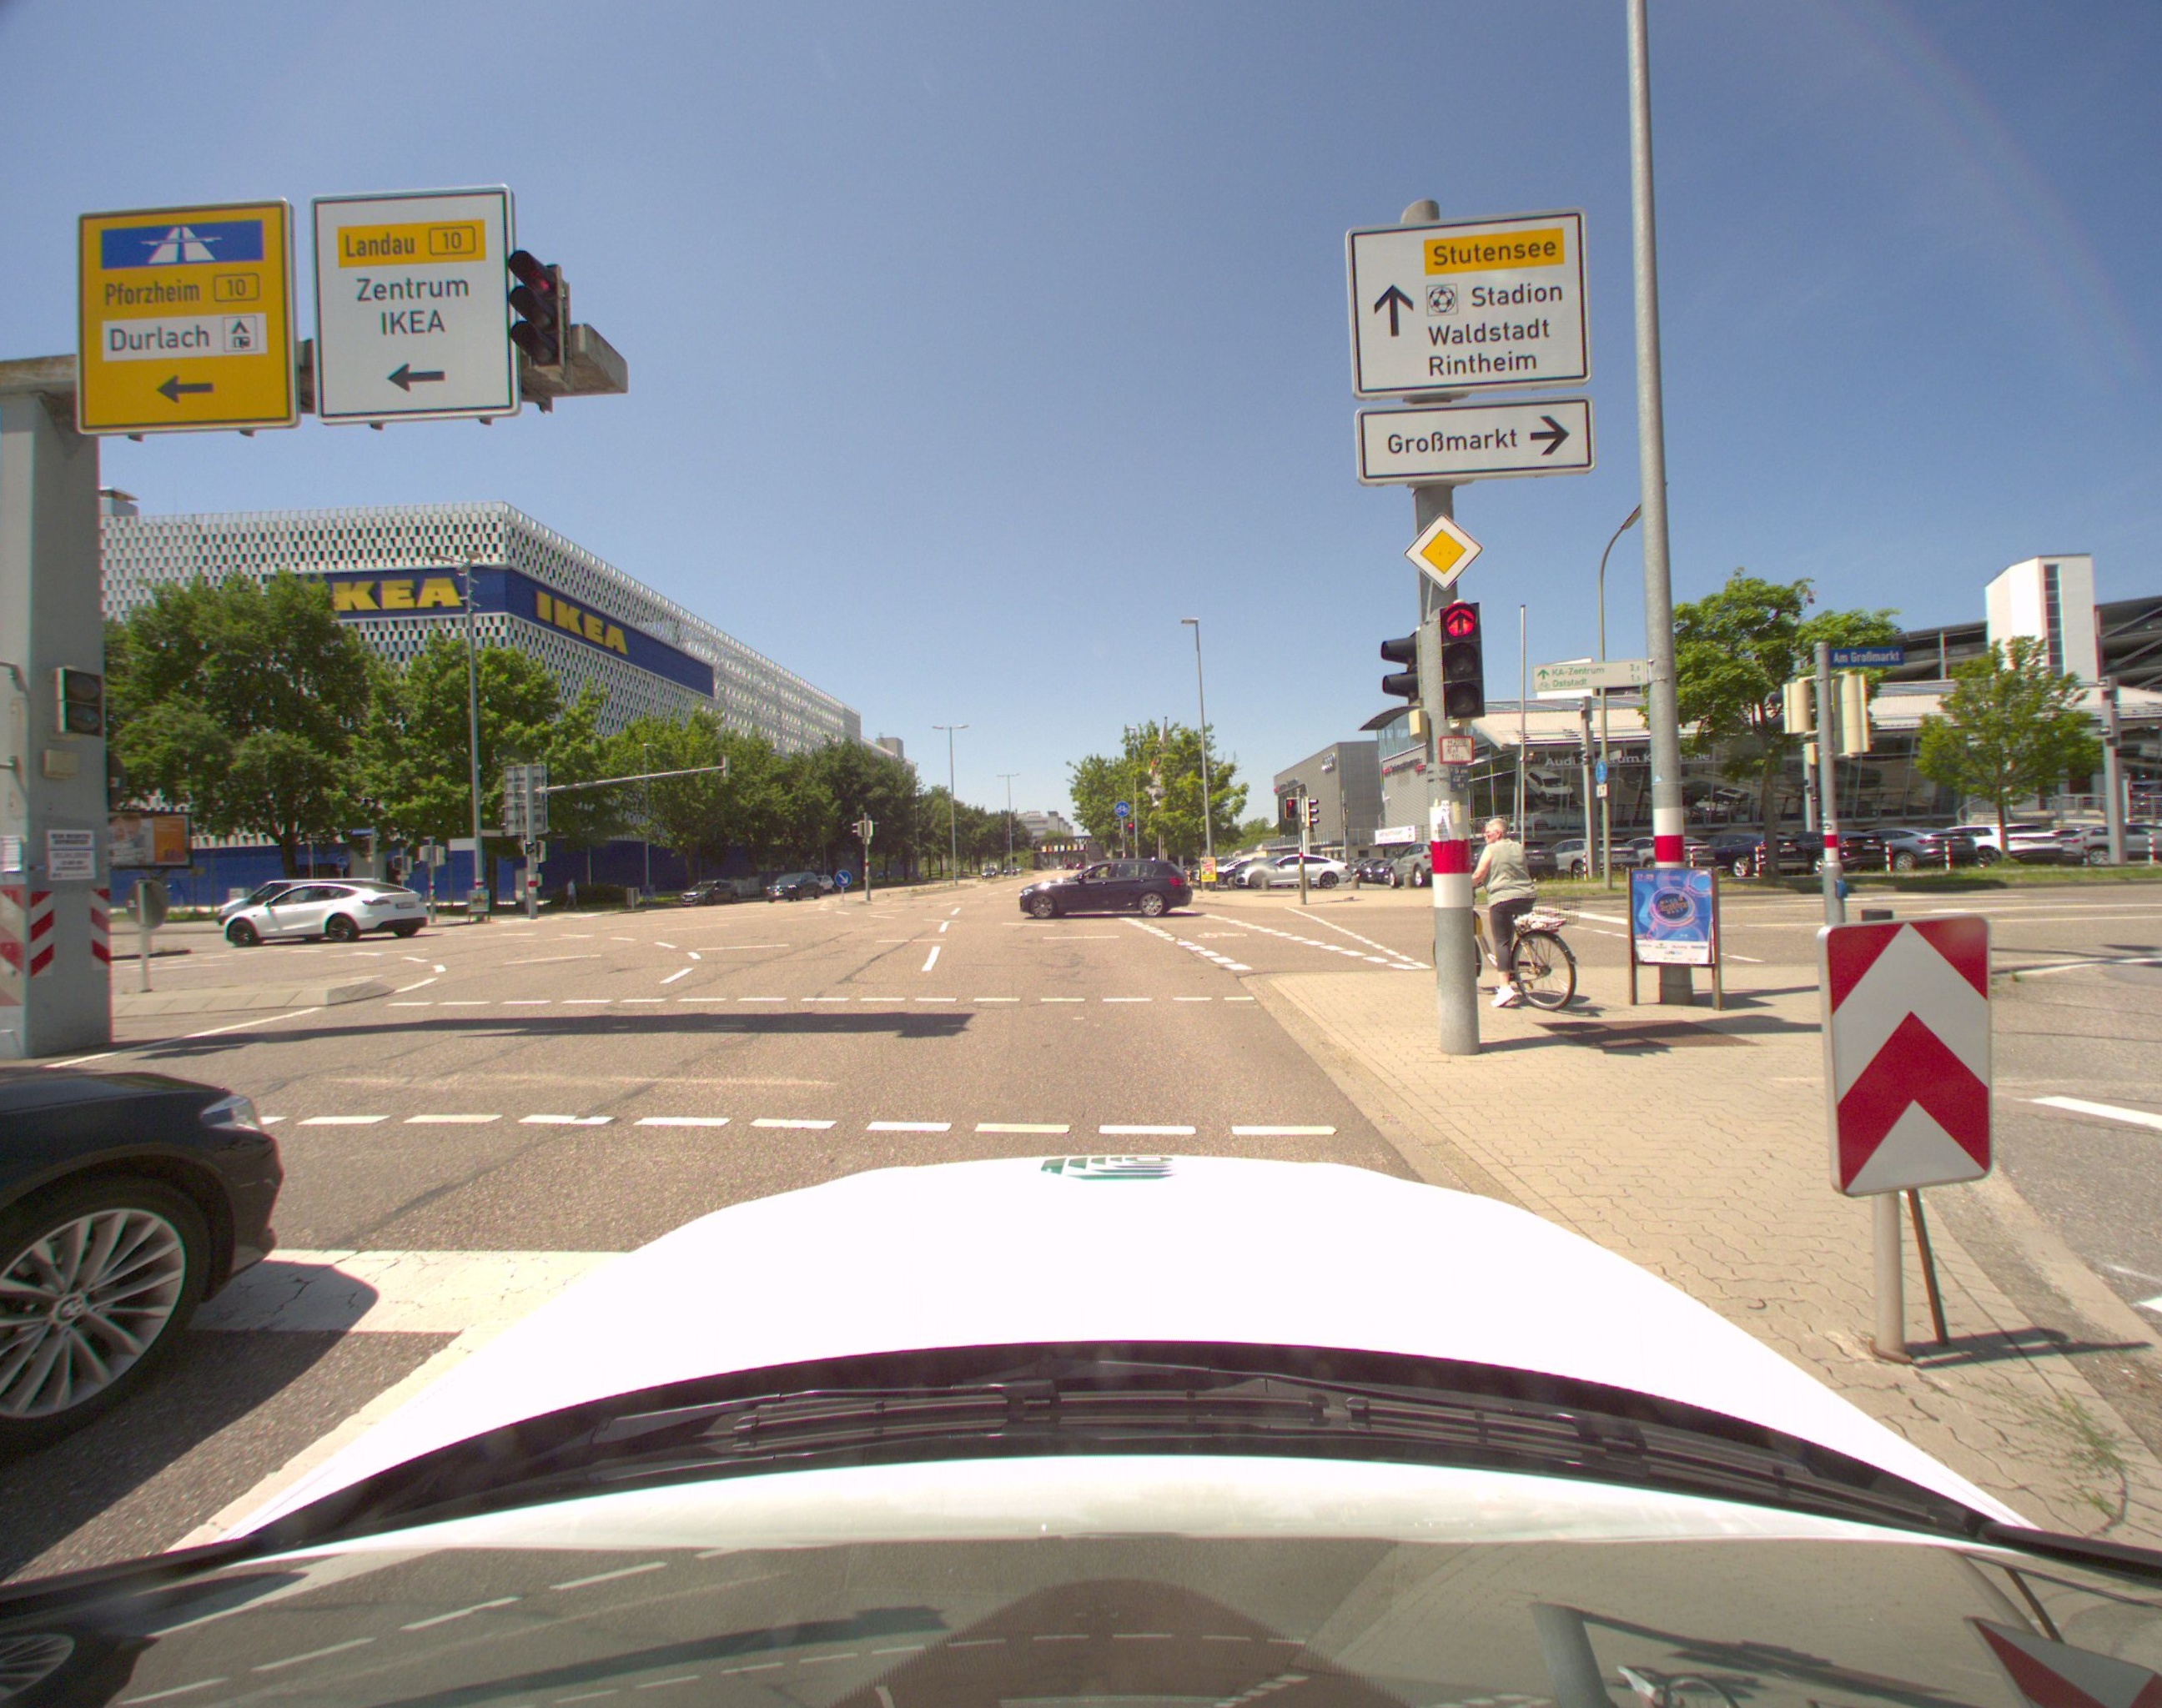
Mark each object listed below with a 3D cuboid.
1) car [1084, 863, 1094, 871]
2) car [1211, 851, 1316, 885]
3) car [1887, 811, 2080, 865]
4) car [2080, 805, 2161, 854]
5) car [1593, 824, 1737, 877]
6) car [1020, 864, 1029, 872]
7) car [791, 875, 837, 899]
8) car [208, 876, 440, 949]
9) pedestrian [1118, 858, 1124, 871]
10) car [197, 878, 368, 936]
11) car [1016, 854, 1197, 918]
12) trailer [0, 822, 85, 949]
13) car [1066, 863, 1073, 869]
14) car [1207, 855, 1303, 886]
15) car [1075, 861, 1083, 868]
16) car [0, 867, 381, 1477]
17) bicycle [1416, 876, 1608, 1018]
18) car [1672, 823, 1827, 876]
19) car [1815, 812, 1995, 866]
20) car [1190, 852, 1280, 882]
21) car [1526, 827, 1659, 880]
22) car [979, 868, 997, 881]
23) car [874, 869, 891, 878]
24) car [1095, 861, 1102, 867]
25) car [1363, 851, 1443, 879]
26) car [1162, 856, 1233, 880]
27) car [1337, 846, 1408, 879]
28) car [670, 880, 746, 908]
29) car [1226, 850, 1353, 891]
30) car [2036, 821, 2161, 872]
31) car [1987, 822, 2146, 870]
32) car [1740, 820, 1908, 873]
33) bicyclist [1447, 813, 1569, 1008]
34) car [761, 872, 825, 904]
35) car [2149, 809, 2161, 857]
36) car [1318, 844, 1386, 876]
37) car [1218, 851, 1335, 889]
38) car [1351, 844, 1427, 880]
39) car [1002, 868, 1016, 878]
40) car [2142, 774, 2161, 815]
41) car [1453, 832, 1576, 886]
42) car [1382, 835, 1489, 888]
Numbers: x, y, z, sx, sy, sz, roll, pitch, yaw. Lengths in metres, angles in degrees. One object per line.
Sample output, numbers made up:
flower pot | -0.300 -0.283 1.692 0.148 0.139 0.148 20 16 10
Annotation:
car | 1.030 1.655 105.503 1.133 1.042 2.309 -2 0 2
car | 8.798 0.656 39.653 4.721 1.457 2.002 -2 0 3
car | 31.203 -0.517 28.395 1.821 1.639 4.476 -3 0 2
car | 46.642 -1.080 35.377 3.728 2.014 1.866 -2 -1 11
car | 20.339 -0.107 28.658 1.878 1.639 4.526 -3 0 2
car | -11.529 2.850 166.839 1.645 1.653 4.160 -2 -1 -2
car | -21.271 2.602 65.031 1.918 1.665 4.094 -3 -1 4
car | -20.478 1.556 22.146 4.654 1.588 2.004 -3 0 7
pedestrian | 4.624 1.201 94.384 0.665 1.510 0.736 -2 -1 1
car | -32.225 2.098 33.111 4.789 2.008 1.976 -2 -1 -41
car | 0.675 0.785 20.199 4.194 1.411 1.677 -2 -1 12
trailer | -39.510 1.230 27.166 9.563 4.081 3.100 -3 -1 6
car | -3.244 3.298 225.756 1.765 1.728 4.001 -3 -1 2
car | 9.282 0.882 43.719 4.726 1.457 2.000 -2 0 0
car | -0.554 2.873 220.249 1.765 1.728 4.001 -3 -1 2
car | -3.558 0.793 0.725 1.793 1.466 4.624 -1 0 1
bicycle | 4.056 0.814 7.874 0.784 1.127 1.919 -1 0 -2
car | 23.188 -0.146 28.512 1.821 1.639 4.476 -3 0 2
car | 28.554 -0.485 28.467 1.821 1.639 4.476 -3 0 2
car | 8.752 0.730 46.494 4.726 1.457 2.000 -2 0 0
car | 17.941 -0.019 28.856 1.986 1.639 4.443 -3 0 2
car | -11.912 2.608 104.372 1.725 1.427 3.707 -4 -1 2
car | -39.916 3.896 163.934 1.984 1.810 4.034 0 0 5
car | 4.756 2.697 220.853 1.765 1.728 4.001 -3 -1 2
car | 19.295 0.648 48.908 4.076 1.460 1.720 -2 0 2
car | 8.361 1.014 58.757 4.726 1.457 2.000 -3 0 0
car | 19.338 0.565 54.069 3.971 2.014 2.001 -2 -1 2
car | -22.258 2.367 48.730 1.753 1.533 3.777 -3 -2 29
car | 8.426 0.666 33.216 4.721 1.457 2.002 -2 0 3
car | 39.063 -0.275 30.626 3.665 1.777 1.759 -3 -1 28
car | 40.176 -0.300 33.345 3.720 1.772 1.781 -3 -1 32
car | 25.778 -0.249 28.510 1.821 1.639 4.476 -3 0 2
bicyclist | 4.026 0.507 7.731 0.732 1.749 0.753 -1 0 -3
car | -16.540 1.926 47.022 1.868 1.598 4.498 -3 -1 2
car | 39.454 -0.811 26.908 4.705 1.639 1.844 -3 0 24
car | 18.738 0.414 56.448 3.971 2.014 2.001 -2 -1 2
car | 8.519 0.714 35.851 4.721 1.457 2.002 -2 -2 3
car | 19.315 0.510 51.252 3.971 2.014 2.001 -2 -1 2
car | -11.242 2.956 127.900 1.678 1.411 3.666 -3 -1 2
car | 54.931 -3.054 39.361 1.989 2.013 3.995 -2 -1 -3
car | 15.093 0.153 28.679 1.986 1.639 4.559 -2 0 2
car | 12.421 0.240 28.828 1.986 1.639 4.270 -2 0 2
